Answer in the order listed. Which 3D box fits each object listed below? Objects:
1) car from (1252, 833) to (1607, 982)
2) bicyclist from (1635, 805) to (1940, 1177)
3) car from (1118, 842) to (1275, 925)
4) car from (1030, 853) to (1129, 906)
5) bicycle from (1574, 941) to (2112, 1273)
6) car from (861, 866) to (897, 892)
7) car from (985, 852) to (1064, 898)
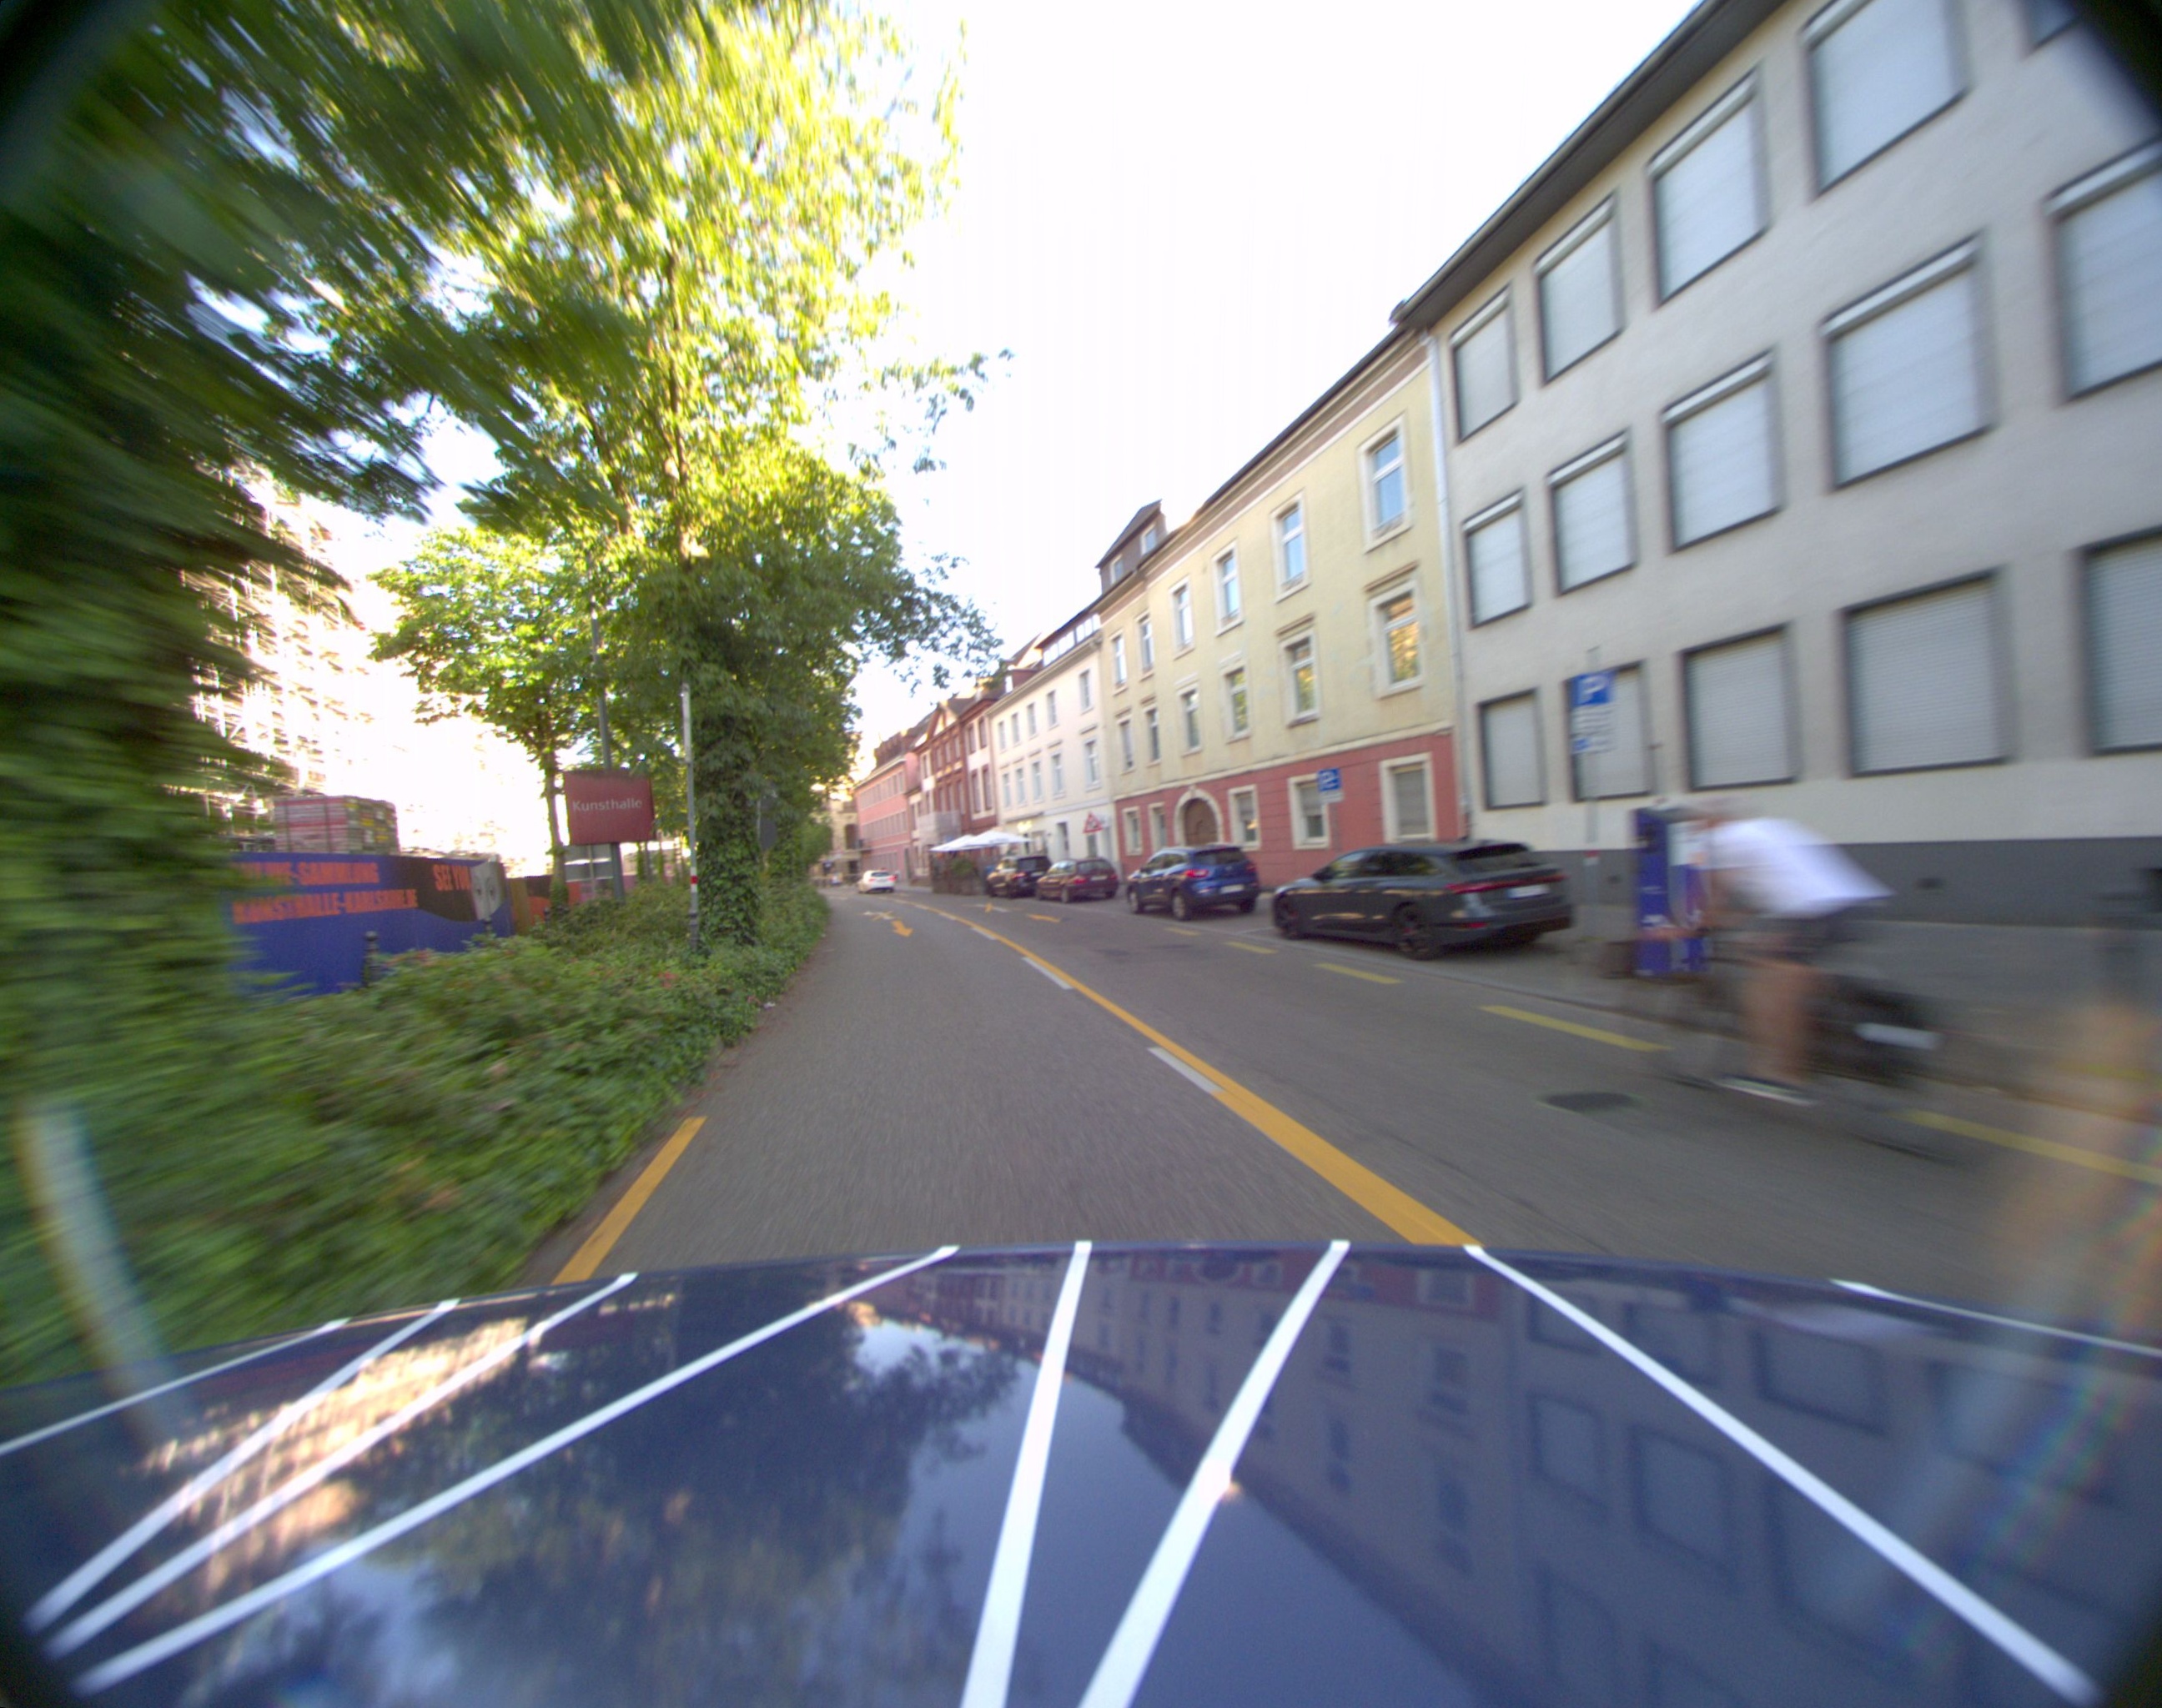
[{"bbox_3d":[4.620,0.620,11.078,1.882,1.499,4.780,-7,1,-17],"label":"car"},{"bbox_3d":[3.551,0.606,3.917,0.576,1.650,1.010,-2,1,-5],"label":"bicyclist"},{"bbox_3d":[2.540,0.630,17.806,1.808,1.562,4.148,-5,1,-19],"label":"car"},{"bbox_3d":[-0.152,0.834,26.050,1.773,1.479,4.187,-7,1,-22],"label":"car"},{"bbox_3d":[3.582,1.078,3.914,0.589,0.982,2.029,-3,1,-5],"label":"bicycle"},{"bbox_3d":[-12.882,1.559,48.355,1.821,1.455,3.994,-3,0,-20],"label":"car"},{"bbox_3d":[-2.393,0.827,31.000,1.820,1.562,4.382,-5,1,-22],"label":"car"}]
